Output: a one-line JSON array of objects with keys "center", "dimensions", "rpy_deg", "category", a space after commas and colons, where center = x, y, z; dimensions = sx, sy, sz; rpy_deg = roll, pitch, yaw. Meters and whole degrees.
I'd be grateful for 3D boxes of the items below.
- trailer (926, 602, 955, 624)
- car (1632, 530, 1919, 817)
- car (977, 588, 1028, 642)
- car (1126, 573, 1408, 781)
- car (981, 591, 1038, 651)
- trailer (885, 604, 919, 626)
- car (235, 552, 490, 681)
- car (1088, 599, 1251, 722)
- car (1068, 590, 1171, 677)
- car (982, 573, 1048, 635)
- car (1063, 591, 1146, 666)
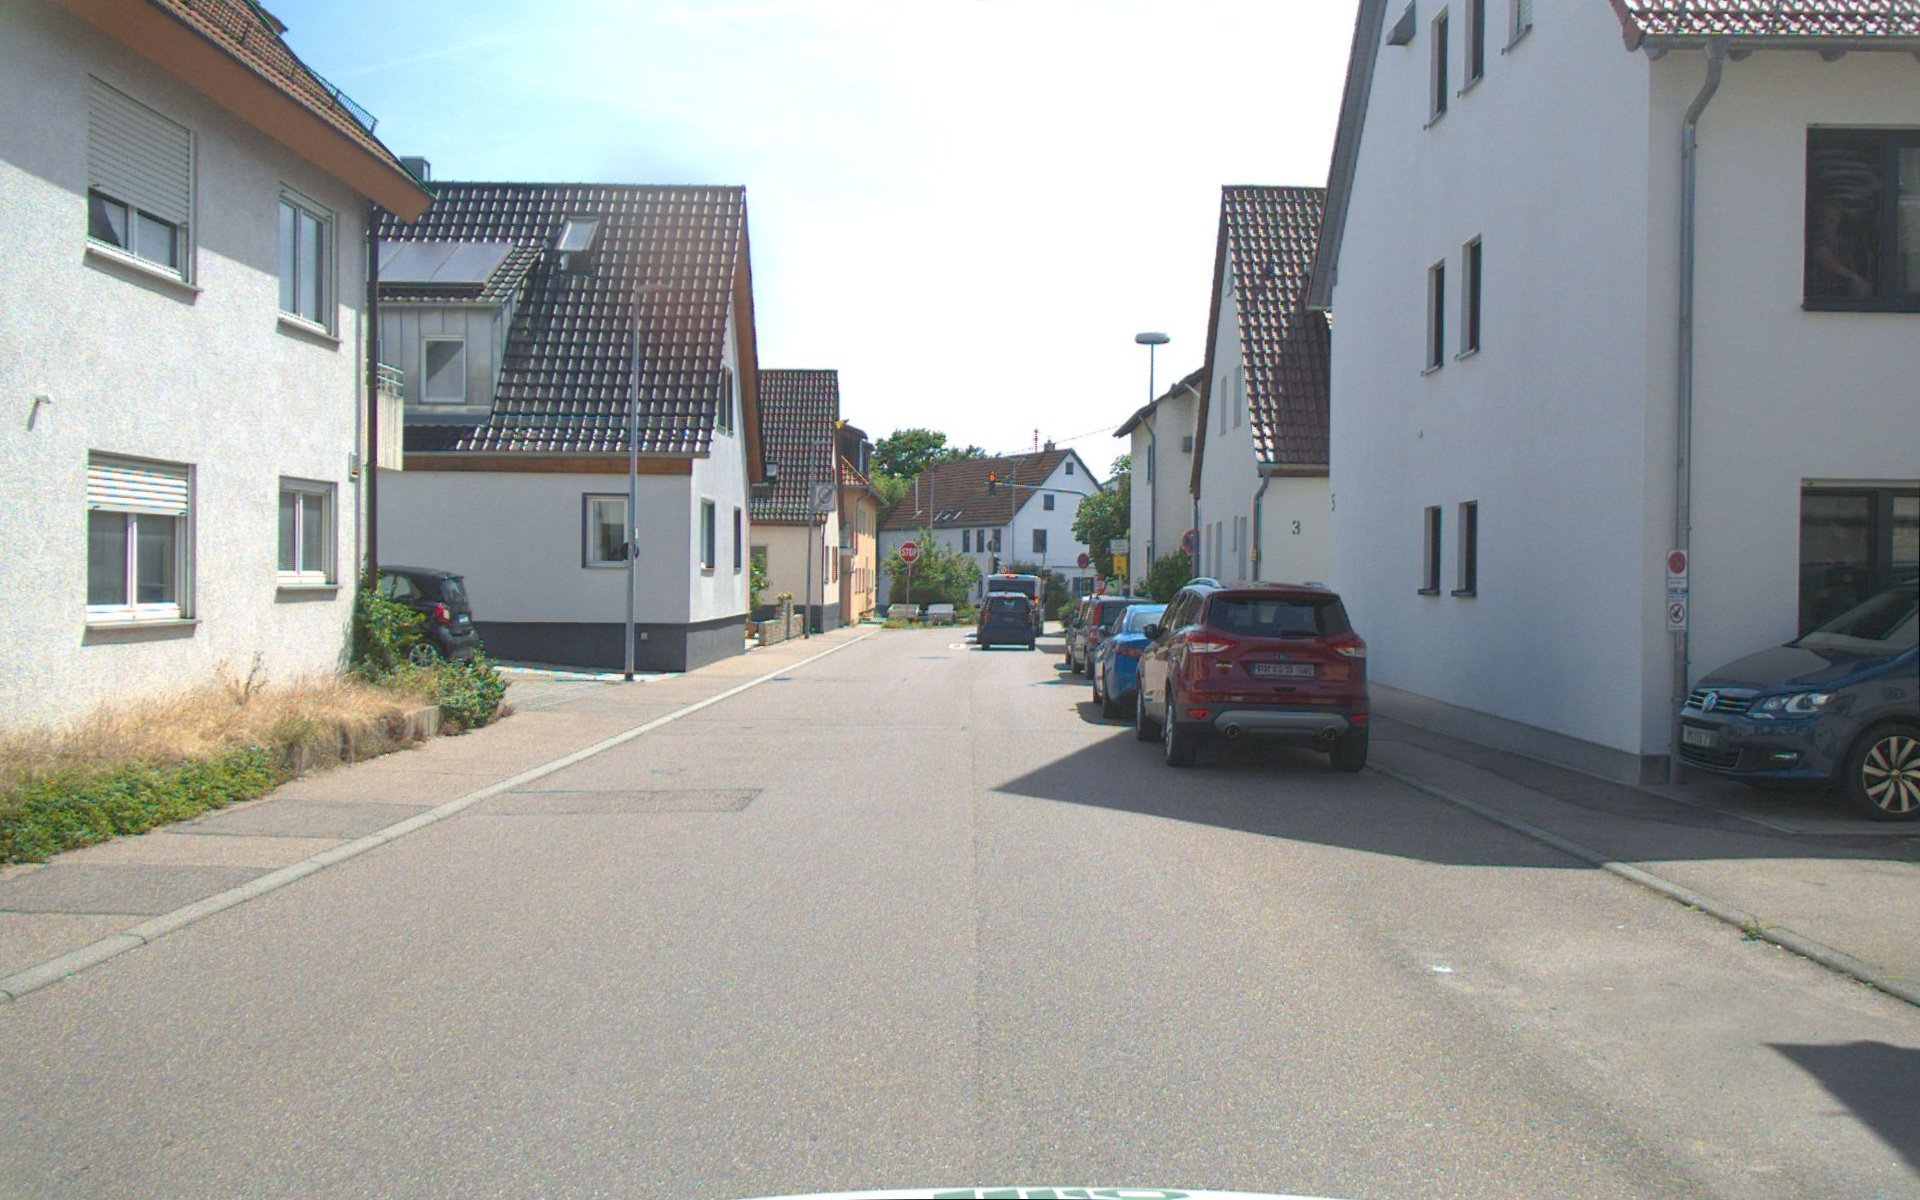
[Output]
[{"center": [-0.906, 0.608, 76.870], "dimensions": [1.283, 0.987, 0.933], "rpy_deg": [0, 0, 2], "category": "trailer"}, {"center": [7.490, 0.516, 11.978], "dimensions": [4.425, 1.875, 1.999], "rpy_deg": [1, 0, -3], "category": "car"}, {"center": [1.350, 0.461, 52.112], "dimensions": [1.484, 1.653, 3.186], "rpy_deg": [0, 0, 4], "category": "car"}, {"center": [2.828, 0.643, 16.197], "dimensions": [1.838, 1.730, 4.182], "rpy_deg": [1, 0, -2], "category": "car"}, {"center": [1.449, 0.575, 47.166], "dimensions": [1.484, 1.594, 3.185], "rpy_deg": [1, 0, 4], "category": "car"}, {"center": [-2.696, 0.706, 77.035], "dimensions": [1.471, 0.943, 1.012], "rpy_deg": [3, 0, 2], "category": "trailer"}, {"center": [-8.756, 0.228, 24.427], "dimensions": [3.048, 1.604, 1.714], "rpy_deg": [4, 0, -1], "category": "car"}, {"center": [2.718, 0.727, 22.360], "dimensions": [1.726, 1.448, 4.593], "rpy_deg": [1, 0, 2], "category": "car"}, {"center": [3.037, 0.611, 32.082], "dimensions": [1.536, 1.572, 3.448], "rpy_deg": [1, 0, -2], "category": "car"}, {"center": [2.090, 0.118, 61.380], "dimensions": [2.084, 2.196, 4.739], "rpy_deg": [1, 0, 6], "category": "car"}, {"center": [3.125, 0.588, 36.292], "dimensions": [1.468, 1.539, 3.361], "rpy_deg": [1, 0, -1], "category": "car"}]
